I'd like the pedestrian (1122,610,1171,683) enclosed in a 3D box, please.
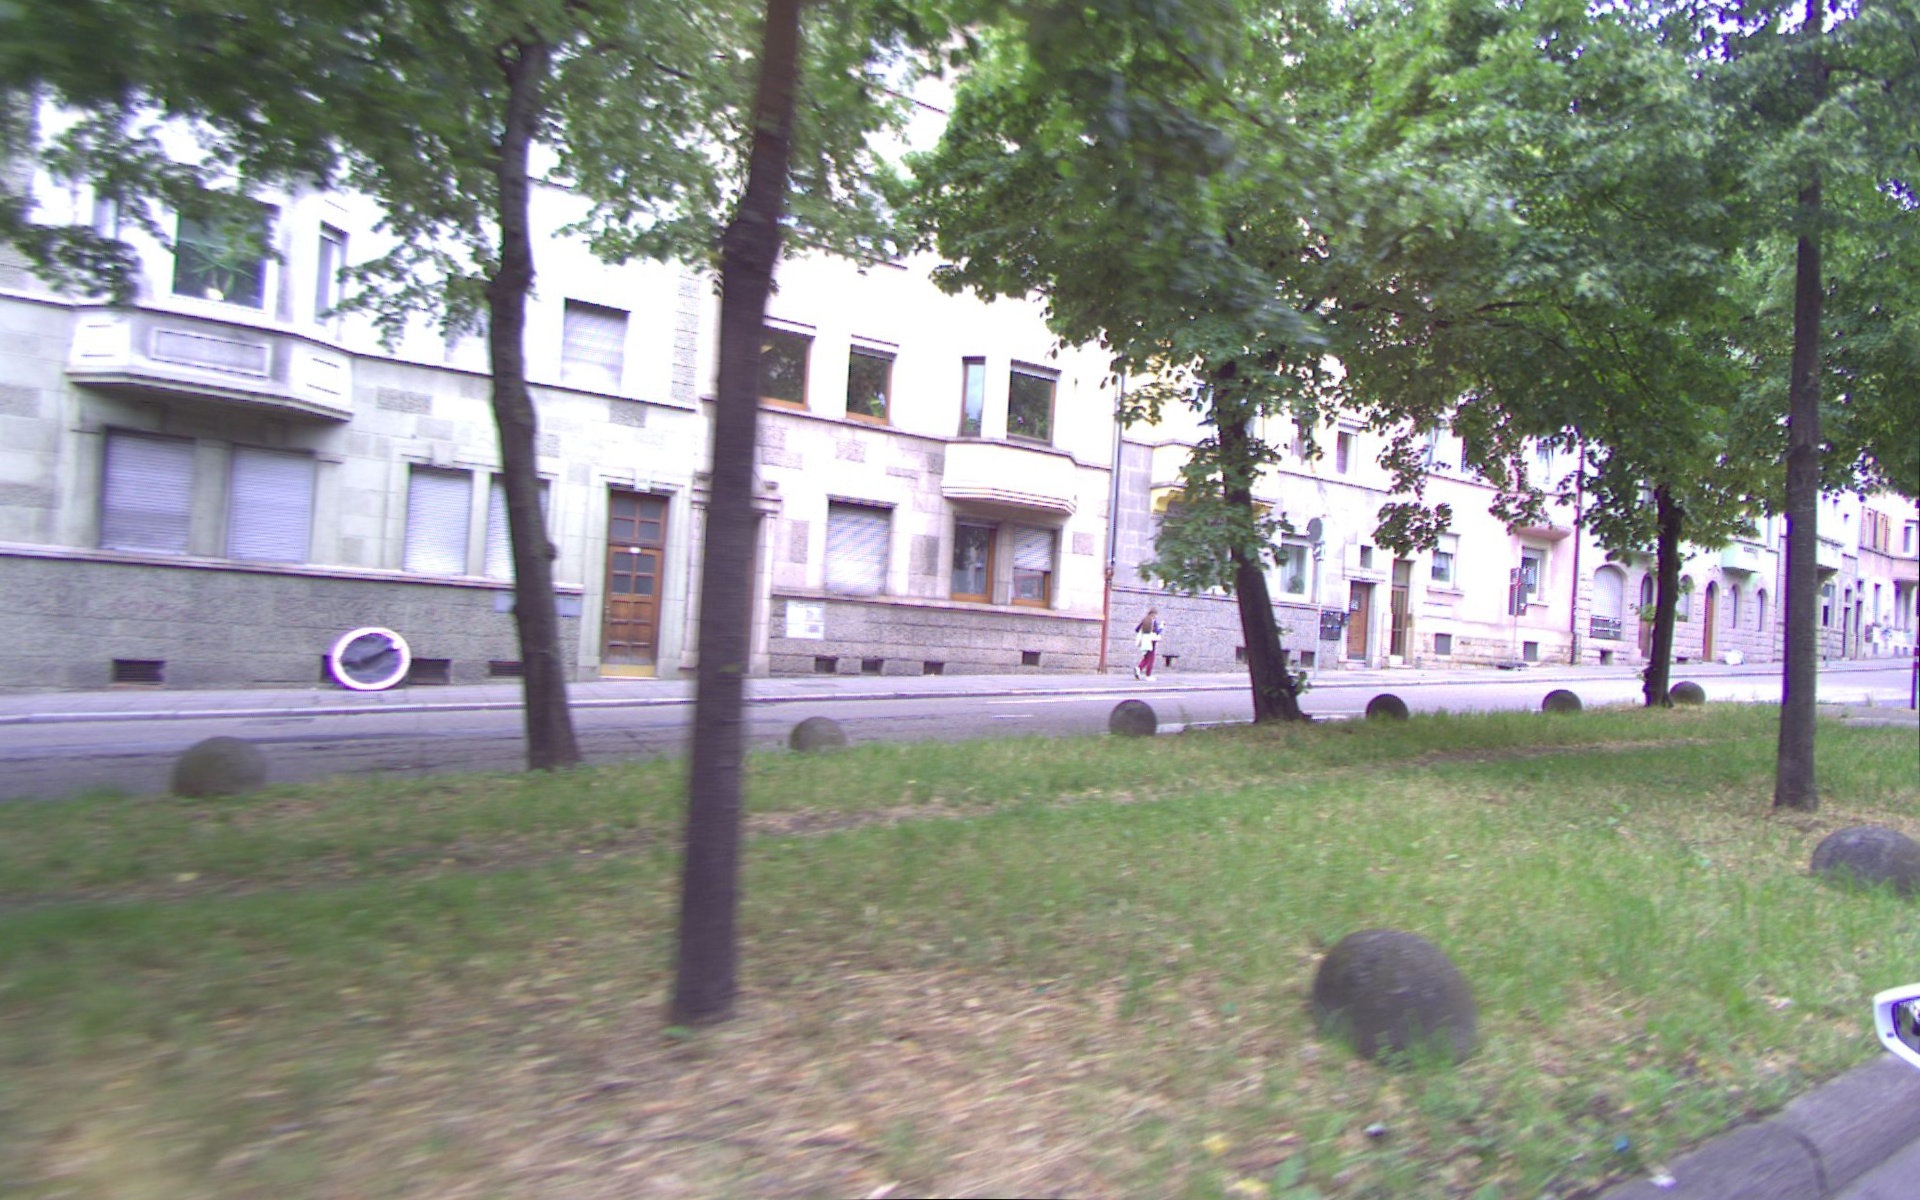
[{"bbox_3d":[3.950,0.971,21.287,0.695,1.480,0.695,1,1,-29],"label":"pedestrian"}]
